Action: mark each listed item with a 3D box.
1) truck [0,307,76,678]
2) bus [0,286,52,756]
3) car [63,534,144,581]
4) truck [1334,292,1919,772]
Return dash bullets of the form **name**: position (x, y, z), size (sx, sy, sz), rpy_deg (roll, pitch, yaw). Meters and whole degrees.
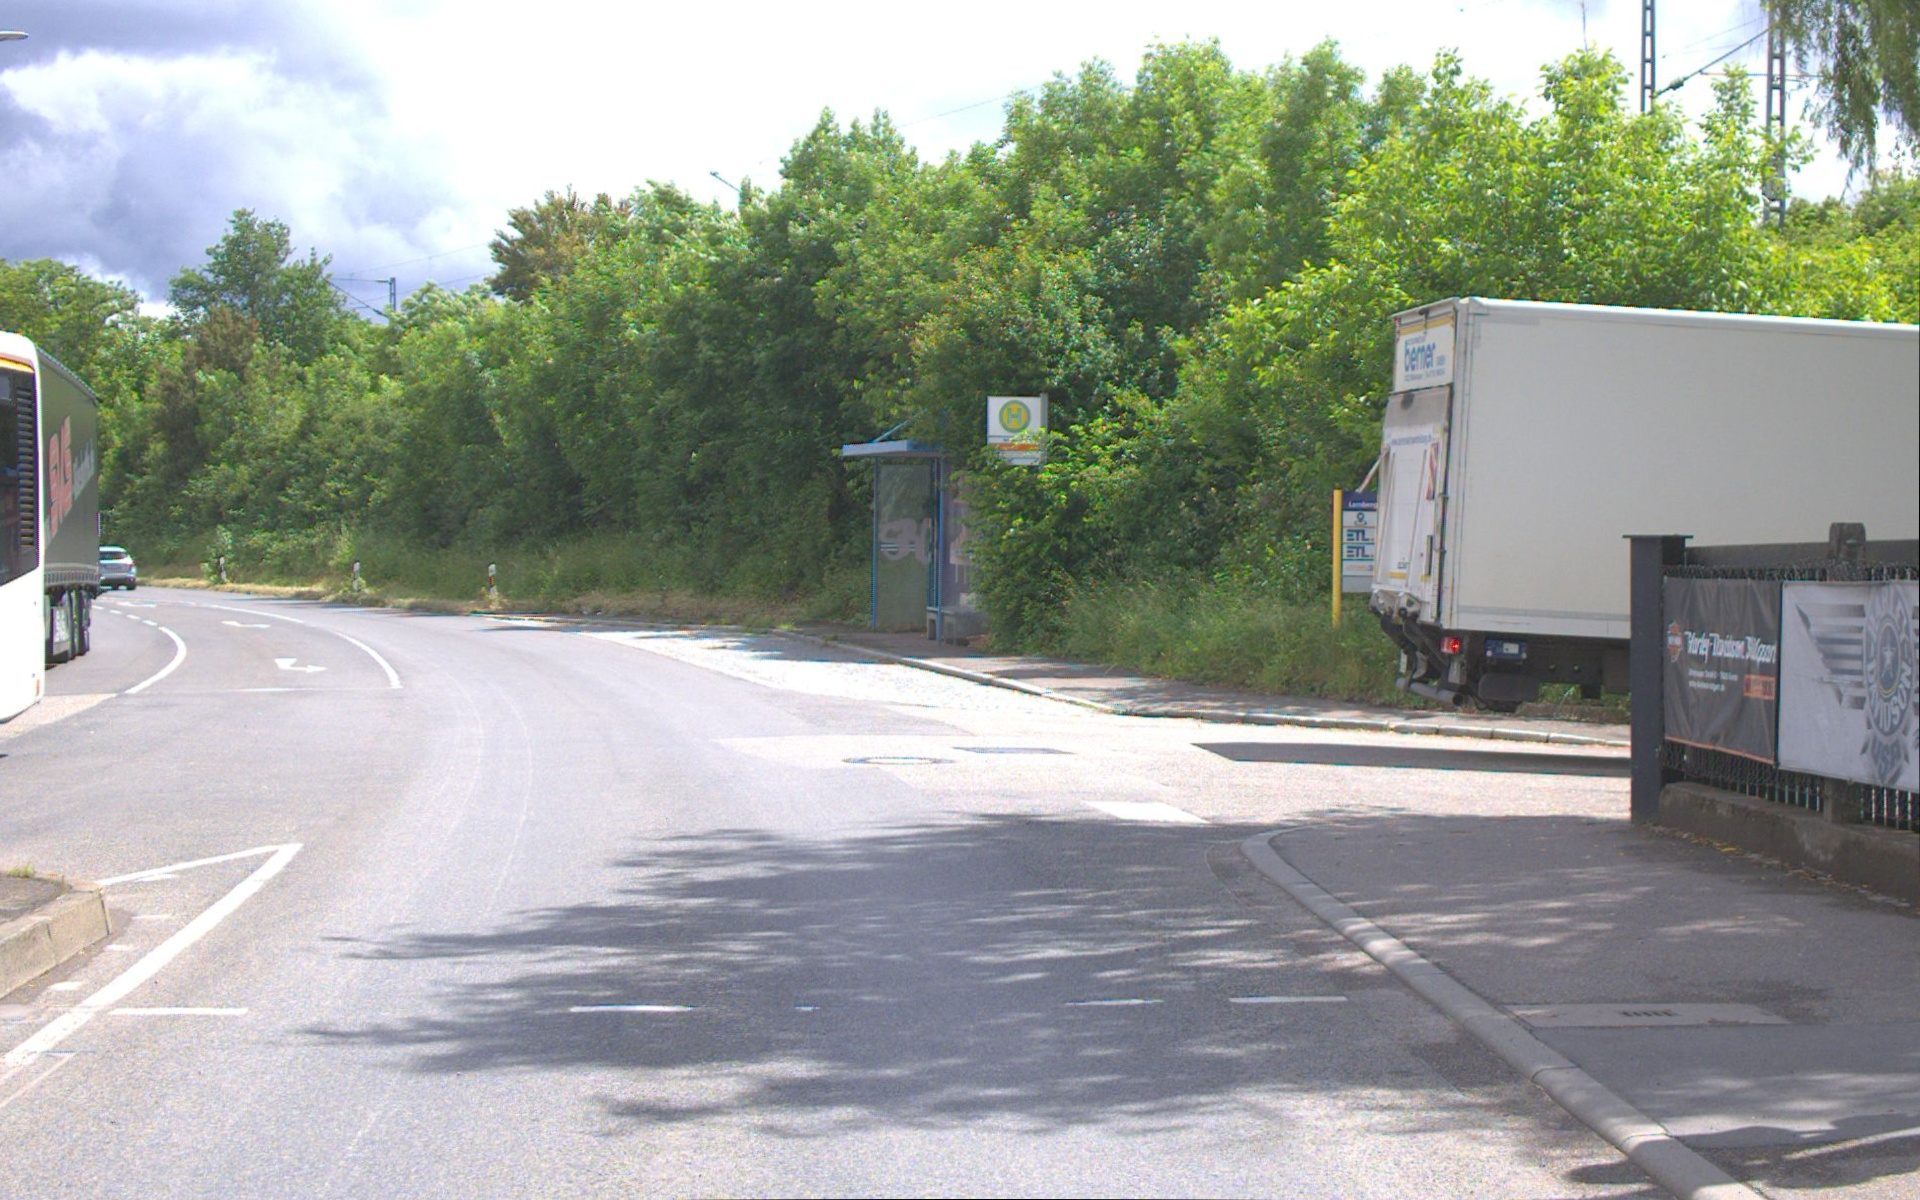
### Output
- **truck**: position (-12.192, -1.246, 40.177), size (2.428, 4.117, 9.152), rpy_deg (2, 0, -8)
- **bus**: position (-7.963, -0.477, 19.069), size (2.777, 3.255, 12.124), rpy_deg (0, 1, -1)
- **car**: position (-28.481, -1.433, 114.260), size (1.884, 1.503, 4.001), rpy_deg (1, 1, -24)
- **truck**: position (8.121, -0.445, 27.772), size (9.691, 3.528, 2.849), rpy_deg (2, 1, -3)
